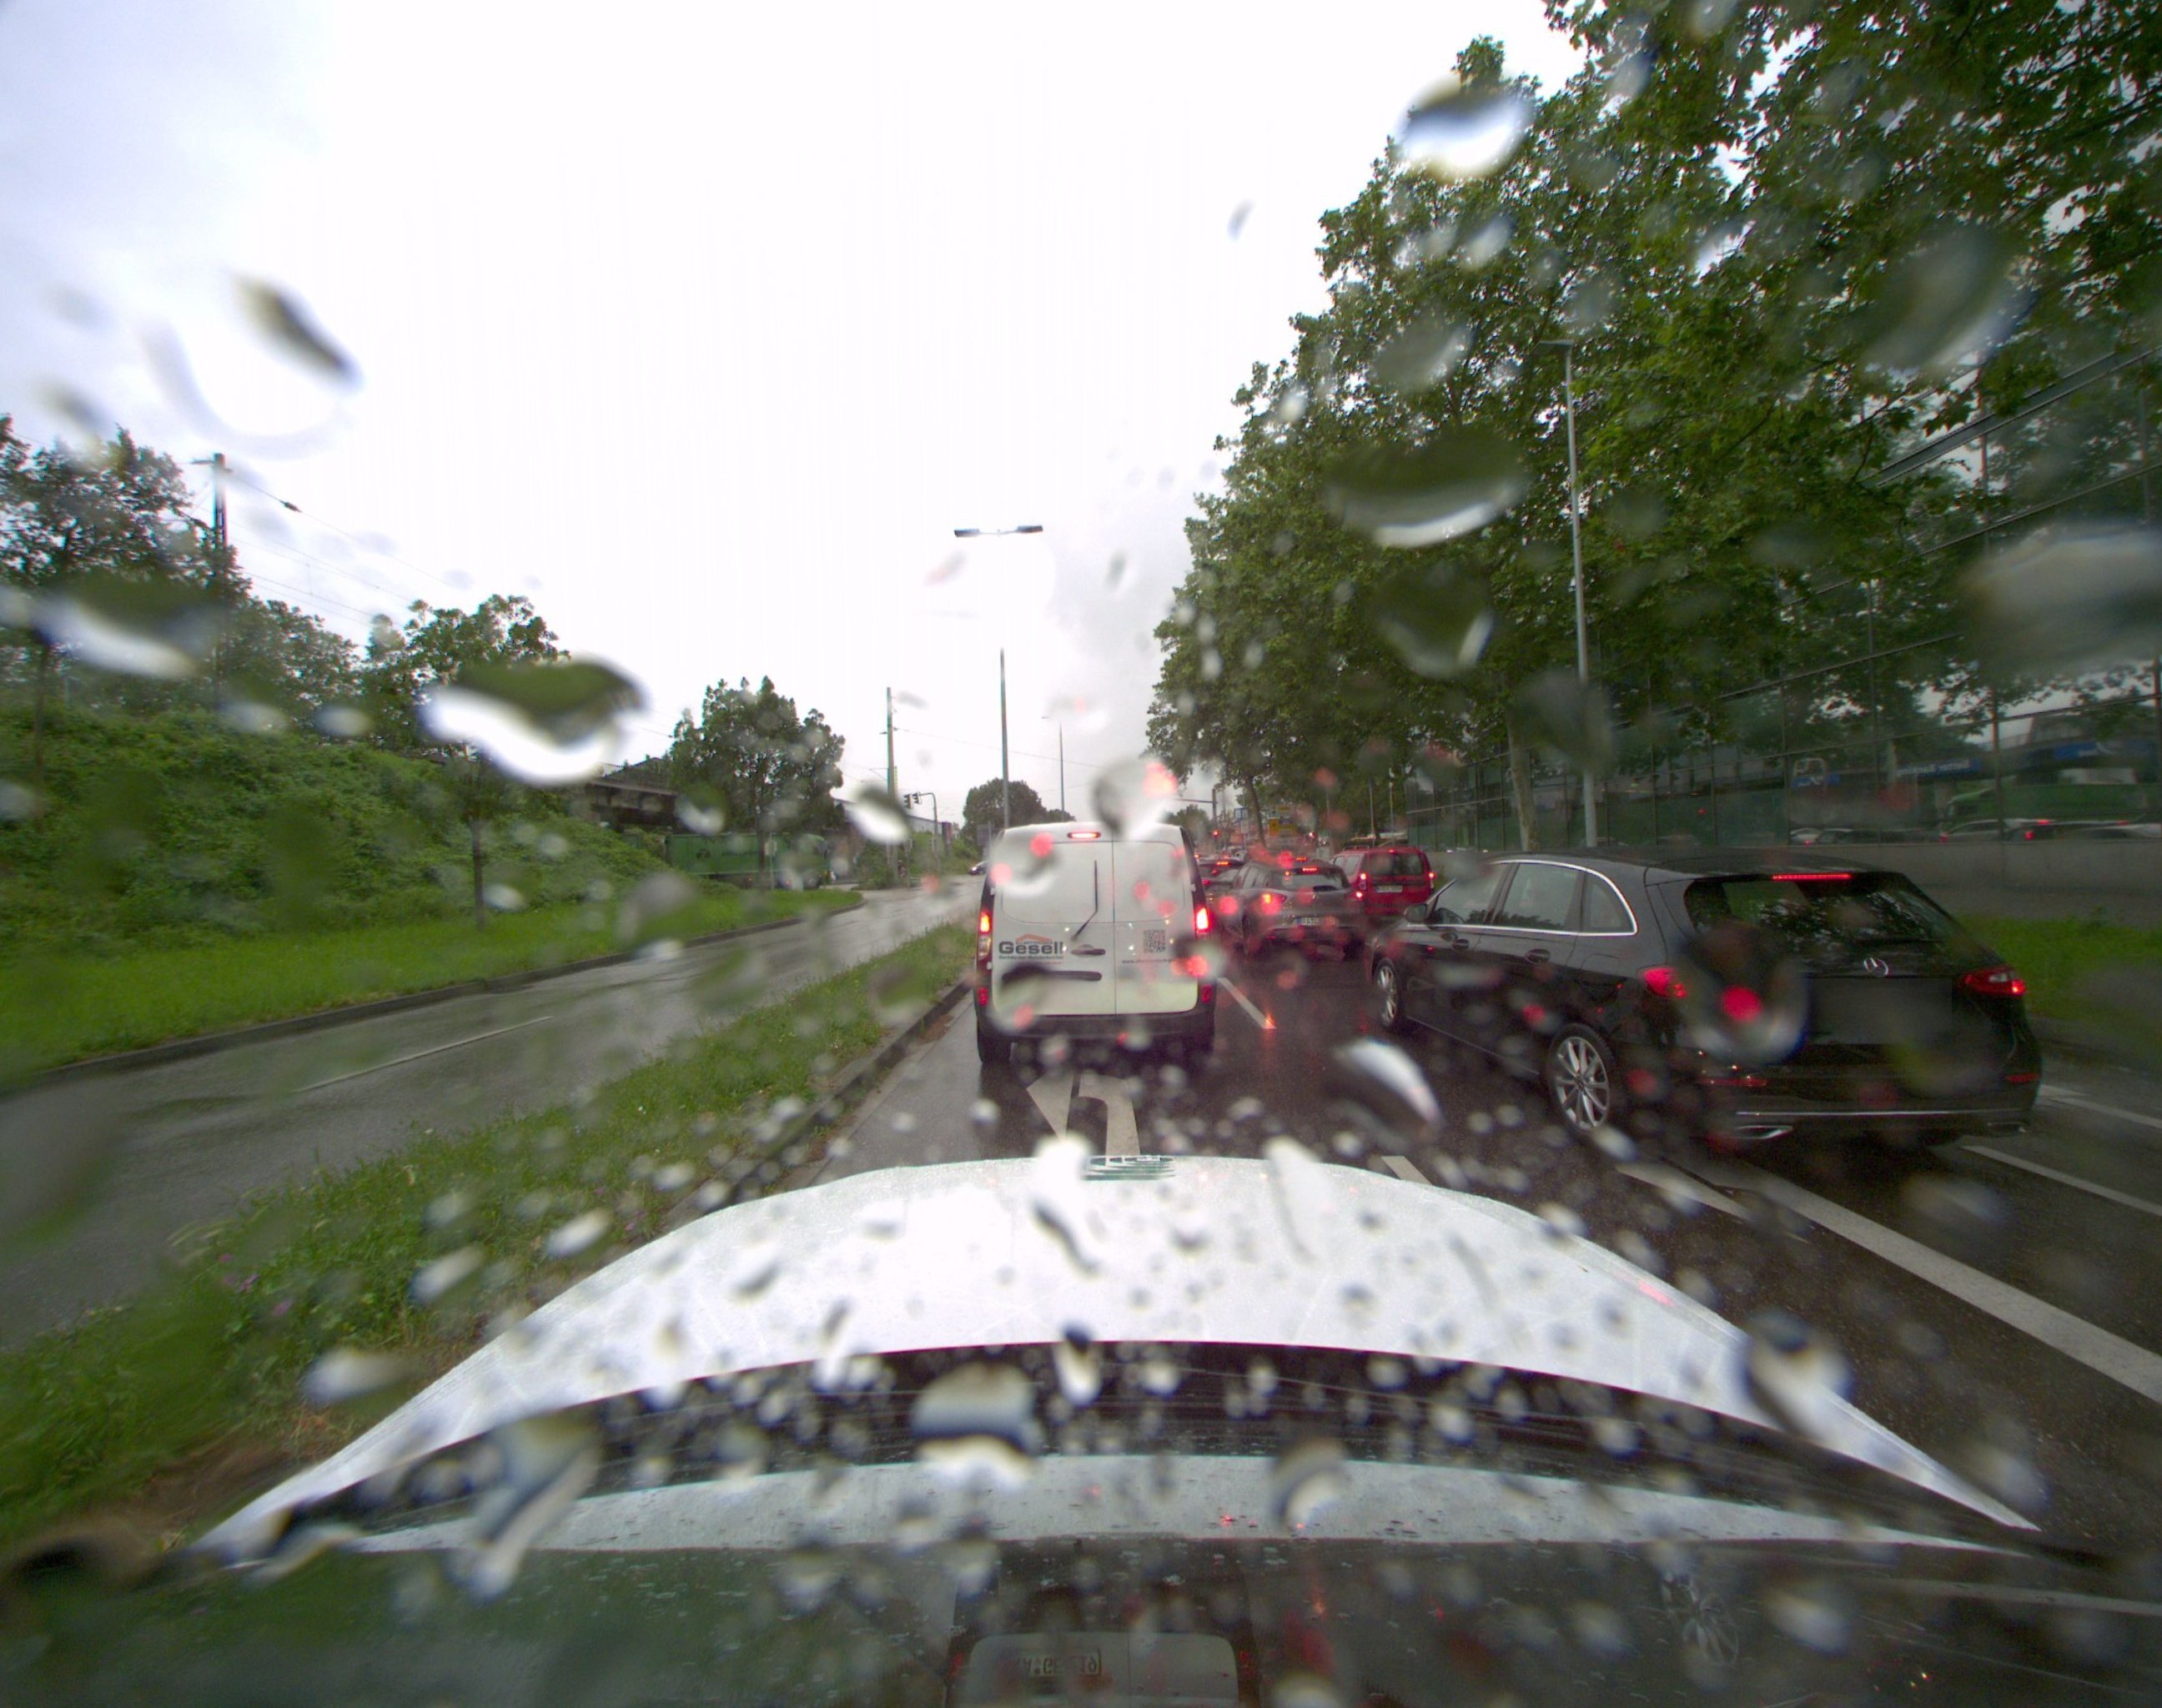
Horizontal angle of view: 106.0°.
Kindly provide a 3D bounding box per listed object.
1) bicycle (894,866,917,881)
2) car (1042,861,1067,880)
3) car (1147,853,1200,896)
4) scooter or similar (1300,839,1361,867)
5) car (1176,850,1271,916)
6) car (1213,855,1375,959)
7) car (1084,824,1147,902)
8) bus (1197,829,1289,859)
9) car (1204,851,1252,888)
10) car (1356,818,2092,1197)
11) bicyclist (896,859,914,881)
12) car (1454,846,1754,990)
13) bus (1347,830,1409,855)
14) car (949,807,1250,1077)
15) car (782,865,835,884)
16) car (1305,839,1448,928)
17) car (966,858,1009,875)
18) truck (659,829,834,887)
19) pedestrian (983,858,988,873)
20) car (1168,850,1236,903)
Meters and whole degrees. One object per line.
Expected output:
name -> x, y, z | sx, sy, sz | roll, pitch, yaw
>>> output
bicycle -> -12.110, 1.326, 56.034 | 1.045, 0.952, 2.866 | -2, 0, -22
car -> -2.221, 1.378, 68.682 | 1.810, 1.462, 4.001 | -4, 0, 1
car -> 3.758, 0.810, 33.579 | 1.847, 1.650, 3.844 | -1, -1, 2
scooter or similar -> 23.452, -0.082, 76.690 | 1.905, 2.446, 5.257 | -1, 0, -39
car -> 3.505, 0.665, 20.686 | 1.847, 1.460, 3.844 | -1, 0, 2
car -> 3.242, 0.734, 13.131 | 1.677, 1.408, 3.844 | 0, 0, 1
car -> 1.094, 0.268, 26.583 | 1.847, 2.296, 3.844 | -1, 0, 2
bus -> 21.894, -1.355, 110.595 | 11.926, 3.423, 2.316 | -2, 0, 1
car -> 6.908, 0.707, 38.618 | 1.702, 1.650, 3.844 | -1, -1, 2
car -> 3.379, 0.644, 5.454 | 1.741, 1.554, 4.091 | -1, 0, 1
bicyclist -> -12.099, 1.082, 55.982 | 1.045, 1.450, 0.723 | -2, 0, -23
car -> 6.161, 0.657, 10.077 | 1.563, 1.462, 3.390 | -1, 0, 1
bus -> 45.201, -1.765, 123.732 | 12.063, 3.423, 2.456 | -3, 0, -36
car -> 0.196, 0.586, 7.777 | 1.986, 1.776, 4.587 | -1, 0, 2
car -> -25.196, 1.888, 75.422 | 4.265, 1.596, 1.979 | -2, 0, -33
car -> 6.288, 0.602, 17.856 | 1.704, 1.694, 4.273 | 0, -1, 2
car -> -9.784, 1.283, 85.360 | 4.016, 1.717, 1.979 | -1, 0, -34
truck -> -21.309, 0.173, 52.369 | 10.105, 3.371, 2.322 | -2, 0, -35
pedestrian -> -11.293, 1.363, 96.672 | 0.541, 1.716, 0.563 | 0, -1, -2
car -> 4.063, 0.725, 27.905 | 1.847, 1.649, 3.844 | -1, 0, 2
